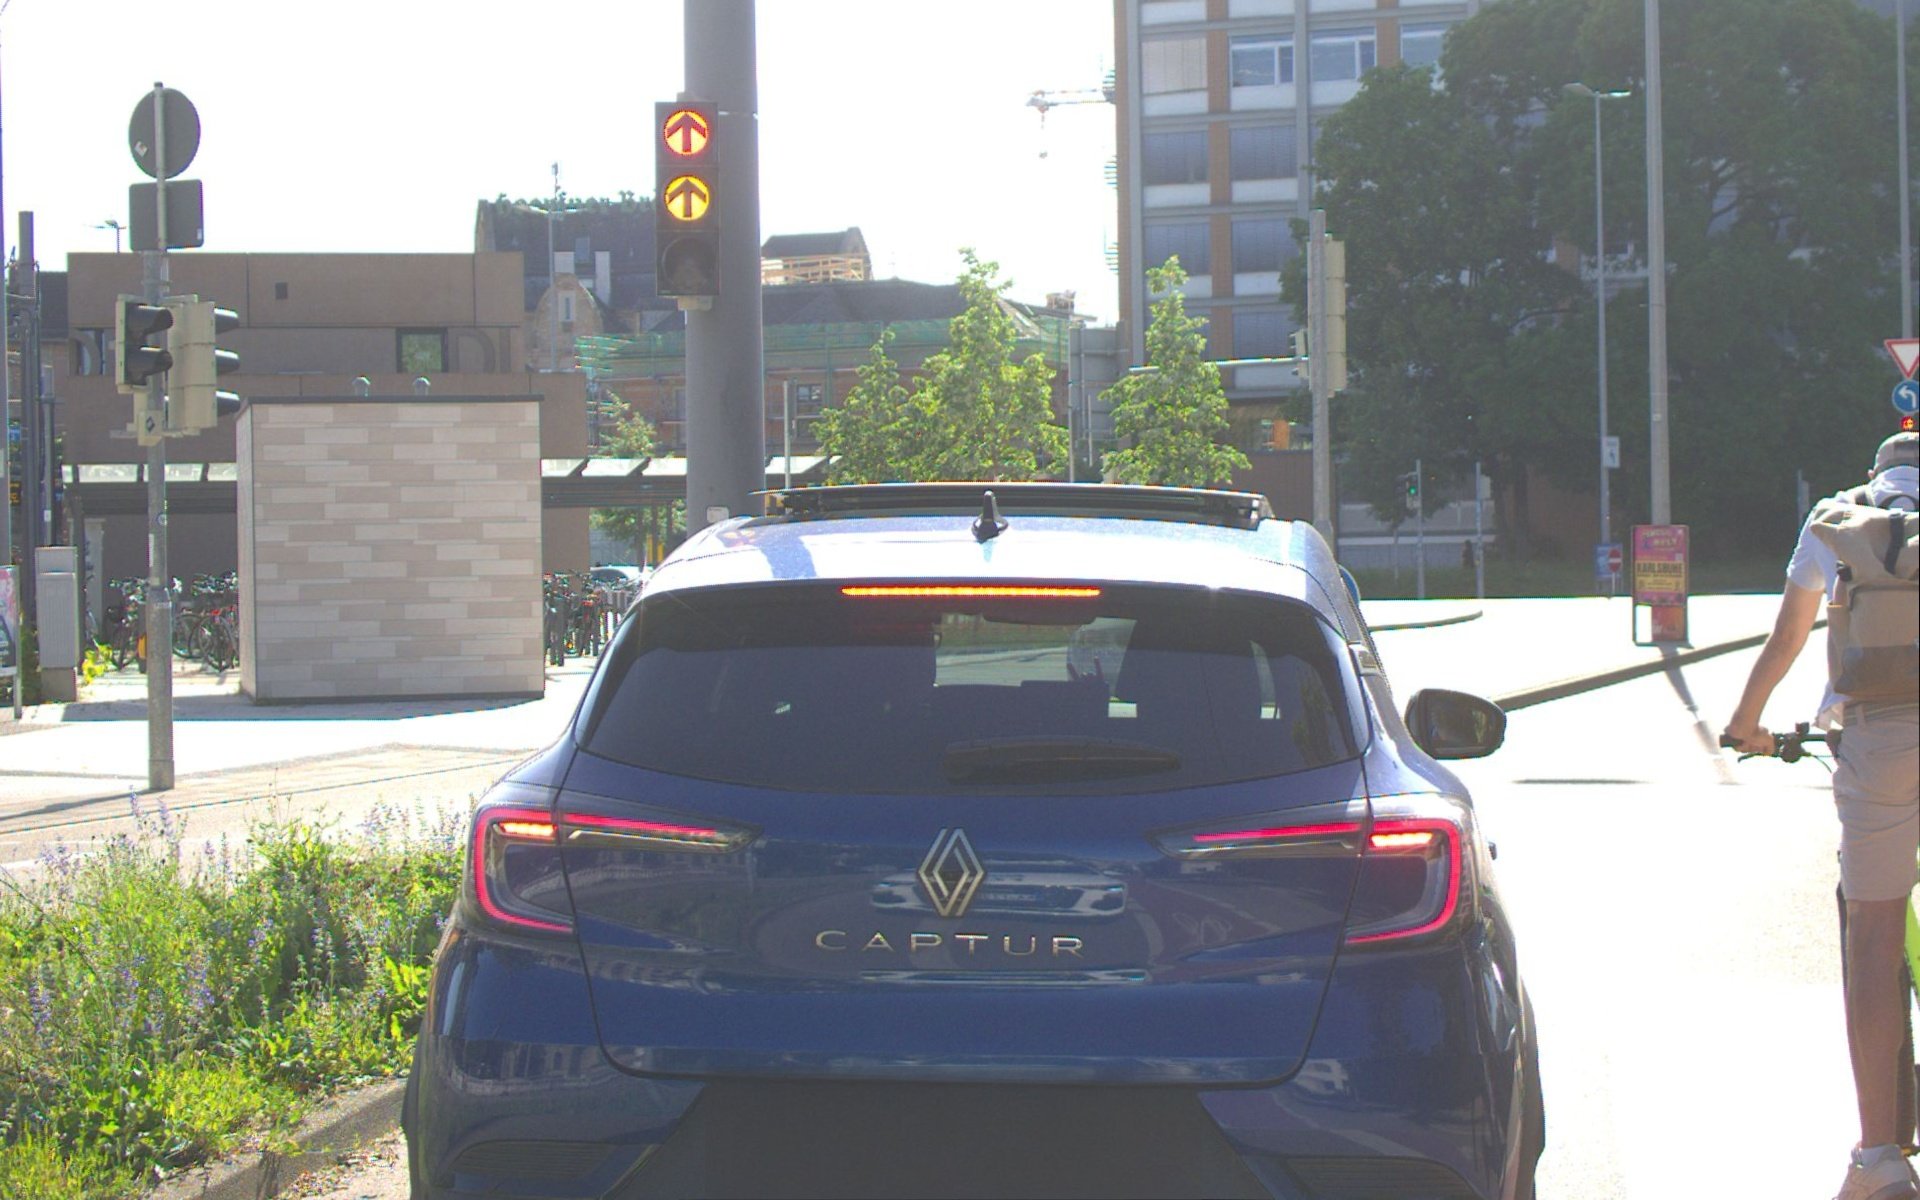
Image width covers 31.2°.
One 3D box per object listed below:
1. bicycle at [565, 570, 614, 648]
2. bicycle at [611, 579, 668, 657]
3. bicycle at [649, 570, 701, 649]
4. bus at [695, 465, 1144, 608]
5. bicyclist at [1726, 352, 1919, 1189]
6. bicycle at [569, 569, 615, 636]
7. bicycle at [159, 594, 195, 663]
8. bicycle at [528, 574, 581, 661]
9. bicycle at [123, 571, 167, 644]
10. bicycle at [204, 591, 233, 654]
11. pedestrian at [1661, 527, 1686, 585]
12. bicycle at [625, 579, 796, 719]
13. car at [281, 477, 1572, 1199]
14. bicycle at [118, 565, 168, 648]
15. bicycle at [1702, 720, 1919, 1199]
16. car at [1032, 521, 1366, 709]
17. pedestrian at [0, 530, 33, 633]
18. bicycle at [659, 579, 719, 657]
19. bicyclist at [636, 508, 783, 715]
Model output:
[{"bbox_3d":[-5.261,0.134,48.694,0.580,1.084,2.059,0,0,-9],"label":"bicycle"},{"bbox_3d":[-4.021,0.224,43.034,0.580,0.958,2.059,0,0,-9],"label":"bicycle"},{"bbox_3d":[-4.051,0.138,48.765,0.580,1.084,2.059,0,0,-9],"label":"bicycle"},{"bbox_3d":[-1.215,-1.509,86.673,12.434,3.384,2.876,0,0,40],"label":"bus"},{"bbox_3d":[2.098,0.348,7.641,0.664,1.741,1.005,0,1,7],"label":"bicyclist"},{"bbox_3d":[-6.024,0.047,56.168,0.580,1.084,1.872,0,0,-11],"label":"bicycle"},{"bbox_3d":[-10.855,0.392,47.631,0.421,0.934,1.306,1,0,-15],"label":"bicycle"},{"bbox_3d":[-5.037,0.218,42.659,0.580,1.054,1.817,0,0,-9],"label":"bicycle"},{"bbox_3d":[-12.376,0.112,52.217,0.565,1.090,2.030,0,0,-11],"label":"bicycle"},{"bbox_3d":[-11.354,0.339,52.653,0.421,0.934,1.379,1,0,-11],"label":"bicycle"},{"bbox_3d":[20.650,-1.282,99.549,0.561,1.664,0.475,0,-1,37],"label":"pedestrian"},{"bbox_3d":[-2.012,0.380,28.059,0.773,1.077,2.034,-1,0,14],"label":"bicycle"},{"bbox_3d":[0.099,0.600,6.684,1.823,1.594,3.658,1,1,5],"label":"car"},{"bbox_3d":[-10.903,0.087,45.908,0.565,1.090,2.030,0,0,-11],"label":"bicycle"},{"bbox_3d":[2.098,0.856,7.703,0.663,1.043,1.890,0,2,6],"label":"bicycle"},{"bbox_3d":[2.173,0.091,30.108,1.802,1.388,4.089,-1,3,21],"label":"car"},{"bbox_3d":[-17.297,-0.333,62.510,0.847,1.877,0.761,0,0,-16],"label":"pedestrian"},{"bbox_3d":[-3.409,0.226,43.122,0.580,0.958,2.059,0,0,-9],"label":"bicycle"},{"bbox_3d":[-2.036,0.086,28.063,0.880,1.639,1.060,-1,0,14],"label":"bicyclist"}]
